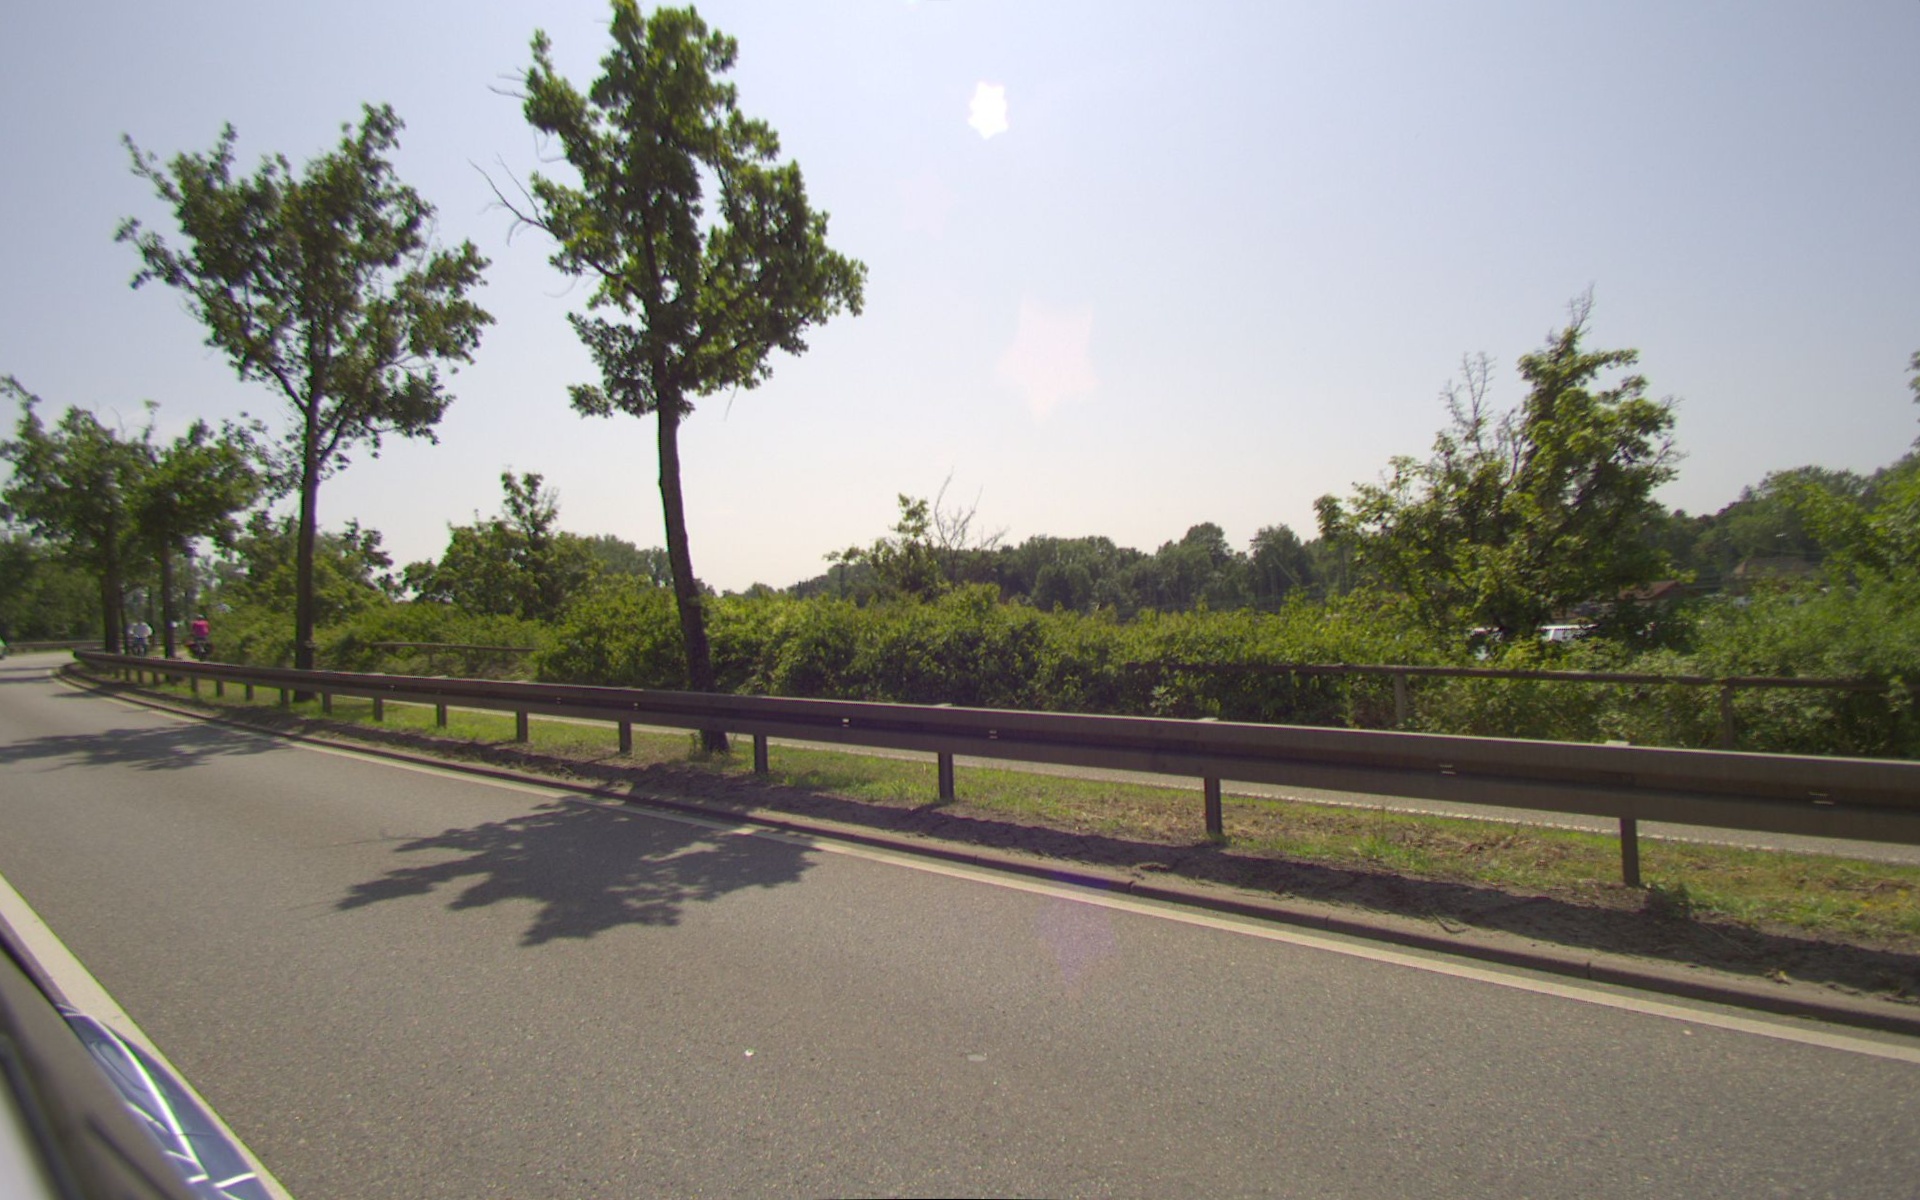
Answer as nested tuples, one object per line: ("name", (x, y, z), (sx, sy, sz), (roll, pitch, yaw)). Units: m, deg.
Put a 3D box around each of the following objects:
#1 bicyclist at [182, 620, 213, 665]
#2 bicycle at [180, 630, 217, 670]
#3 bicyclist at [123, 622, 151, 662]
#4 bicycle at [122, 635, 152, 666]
("bicyclist", (-25.692, 1.428, 34.096), (0.757, 1.500, 0.733), (-2, -1, 44))
("bicycle", (-25.621, 1.664, 34.049), (0.726, 1.291, 2.047), (0, -1, -44))
("bicyclist", (-30.809, 1.571, 37.893), (0.720, 1.477, 0.825), (3, -3, -43))
("bicycle", (-30.783, 1.880, 37.845), (0.725, 1.125, 2.048), (3, -3, -42))
